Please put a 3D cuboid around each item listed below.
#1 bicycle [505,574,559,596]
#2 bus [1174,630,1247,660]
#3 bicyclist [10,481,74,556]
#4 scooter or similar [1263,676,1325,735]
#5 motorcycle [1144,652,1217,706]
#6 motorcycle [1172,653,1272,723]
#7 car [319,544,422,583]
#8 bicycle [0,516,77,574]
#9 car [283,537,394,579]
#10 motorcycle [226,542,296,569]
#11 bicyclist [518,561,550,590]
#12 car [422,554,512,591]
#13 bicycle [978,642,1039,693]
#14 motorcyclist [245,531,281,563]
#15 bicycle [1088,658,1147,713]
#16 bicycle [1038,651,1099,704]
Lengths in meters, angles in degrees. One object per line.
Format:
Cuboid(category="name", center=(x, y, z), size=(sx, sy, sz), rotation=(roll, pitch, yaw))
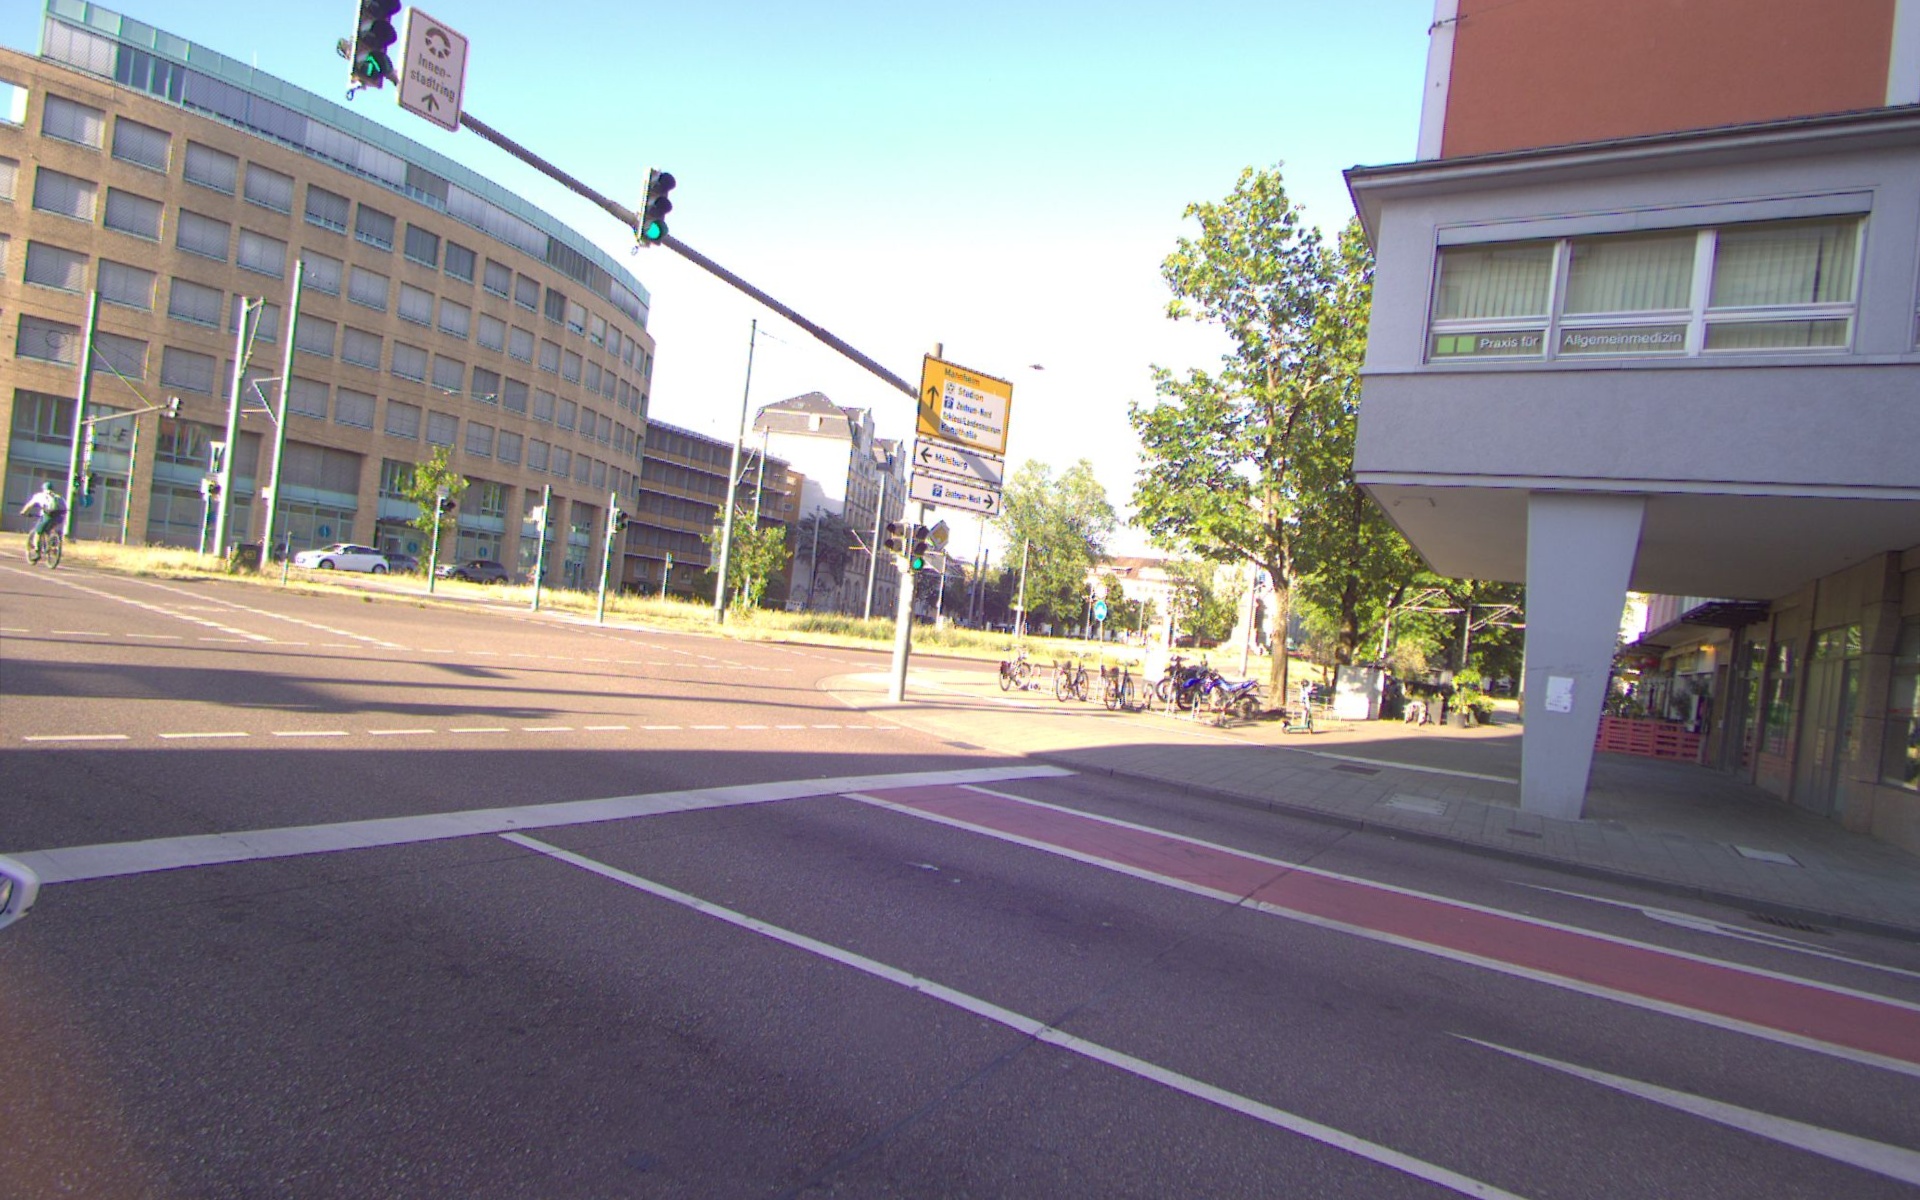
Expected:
Cuboid(category="bicycle", center=(-26.486, -0.939, 62.323), size=(1.134, 1.012, 2.966), rotation=(6, -1, 29))
Cuboid(category="bus", center=(37.241, 6.661, 149.554), size=(10.962, 3.248, 2.400), rotation=(7, -1, -21))
Cuboid(category="bicyclist", center=(-18.735, -1.669, 20.534), size=(0.914, 1.385, 0.593), rotation=(7, -1, 32))
Cuboid(category="scooter or similar", center=(7.563, 2.396, 22.768), size=(1.549, 1.251, 0.479), rotation=(6, 1, -40))
Cuboid(category="motorcycle", center=(6.161, 2.214, 28.035), size=(2.044, 1.324, 0.879), rotation=(7, -1, -44))
Cuboid(category="motorcycle", center=(6.569, 2.191, 25.234), size=(2.224, 1.409, 0.844), rotation=(7, -1, 19))
Cuboid(category="car", center=(-32.850, -2.039, 56.213), size=(1.953, 1.555, 4.488), rotation=(6, -1, 32))
Cuboid(category="bicycle", center=(-18.862, -1.132, 20.565), size=(1.945, 0.954, 0.593), rotation=(7, -2, 32))
Cuboid(category="car", center=(-30.804, -2.059, 49.944), size=(1.961, 1.509, 4.171), rotation=(6, -1, 29))
Cuboid(category="motorcycle", center=(-35.696, -2.259, 51.430), size=(1.014, 0.975, 2.722), rotation=(6, -1, 30))
Cuboid(category="bicyclist", center=(-26.393, -1.524, 62.358), size=(1.134, 1.591, 1.225), rotation=(6, 0, 30))
Cuboid(category="car", center=(-27.356, -1.510, 55.914), size=(1.790, 1.509, 4.058), rotation=(6, -1, 30))
Cuboid(category="bicycle", center=(1.203, 1.633, 24.693), size=(0.584, 1.129, 1.974), rotation=(7, 1, 29))
Cuboid(category="motorcyclist", center=(-35.639, -2.711, 51.442), size=(1.014, 1.453, 1.067), rotation=(6, 0, 31))
Cuboid(category="bicycle", center=(3.666, 1.946, 23.252), size=(0.583, 1.129, 2.058), rotation=(7, 1, 28))
Cuboid(category="bicycle", center=(2.595, 1.810, 23.870), size=(0.584, 1.129, 2.003), rotation=(7, 1, 29))
